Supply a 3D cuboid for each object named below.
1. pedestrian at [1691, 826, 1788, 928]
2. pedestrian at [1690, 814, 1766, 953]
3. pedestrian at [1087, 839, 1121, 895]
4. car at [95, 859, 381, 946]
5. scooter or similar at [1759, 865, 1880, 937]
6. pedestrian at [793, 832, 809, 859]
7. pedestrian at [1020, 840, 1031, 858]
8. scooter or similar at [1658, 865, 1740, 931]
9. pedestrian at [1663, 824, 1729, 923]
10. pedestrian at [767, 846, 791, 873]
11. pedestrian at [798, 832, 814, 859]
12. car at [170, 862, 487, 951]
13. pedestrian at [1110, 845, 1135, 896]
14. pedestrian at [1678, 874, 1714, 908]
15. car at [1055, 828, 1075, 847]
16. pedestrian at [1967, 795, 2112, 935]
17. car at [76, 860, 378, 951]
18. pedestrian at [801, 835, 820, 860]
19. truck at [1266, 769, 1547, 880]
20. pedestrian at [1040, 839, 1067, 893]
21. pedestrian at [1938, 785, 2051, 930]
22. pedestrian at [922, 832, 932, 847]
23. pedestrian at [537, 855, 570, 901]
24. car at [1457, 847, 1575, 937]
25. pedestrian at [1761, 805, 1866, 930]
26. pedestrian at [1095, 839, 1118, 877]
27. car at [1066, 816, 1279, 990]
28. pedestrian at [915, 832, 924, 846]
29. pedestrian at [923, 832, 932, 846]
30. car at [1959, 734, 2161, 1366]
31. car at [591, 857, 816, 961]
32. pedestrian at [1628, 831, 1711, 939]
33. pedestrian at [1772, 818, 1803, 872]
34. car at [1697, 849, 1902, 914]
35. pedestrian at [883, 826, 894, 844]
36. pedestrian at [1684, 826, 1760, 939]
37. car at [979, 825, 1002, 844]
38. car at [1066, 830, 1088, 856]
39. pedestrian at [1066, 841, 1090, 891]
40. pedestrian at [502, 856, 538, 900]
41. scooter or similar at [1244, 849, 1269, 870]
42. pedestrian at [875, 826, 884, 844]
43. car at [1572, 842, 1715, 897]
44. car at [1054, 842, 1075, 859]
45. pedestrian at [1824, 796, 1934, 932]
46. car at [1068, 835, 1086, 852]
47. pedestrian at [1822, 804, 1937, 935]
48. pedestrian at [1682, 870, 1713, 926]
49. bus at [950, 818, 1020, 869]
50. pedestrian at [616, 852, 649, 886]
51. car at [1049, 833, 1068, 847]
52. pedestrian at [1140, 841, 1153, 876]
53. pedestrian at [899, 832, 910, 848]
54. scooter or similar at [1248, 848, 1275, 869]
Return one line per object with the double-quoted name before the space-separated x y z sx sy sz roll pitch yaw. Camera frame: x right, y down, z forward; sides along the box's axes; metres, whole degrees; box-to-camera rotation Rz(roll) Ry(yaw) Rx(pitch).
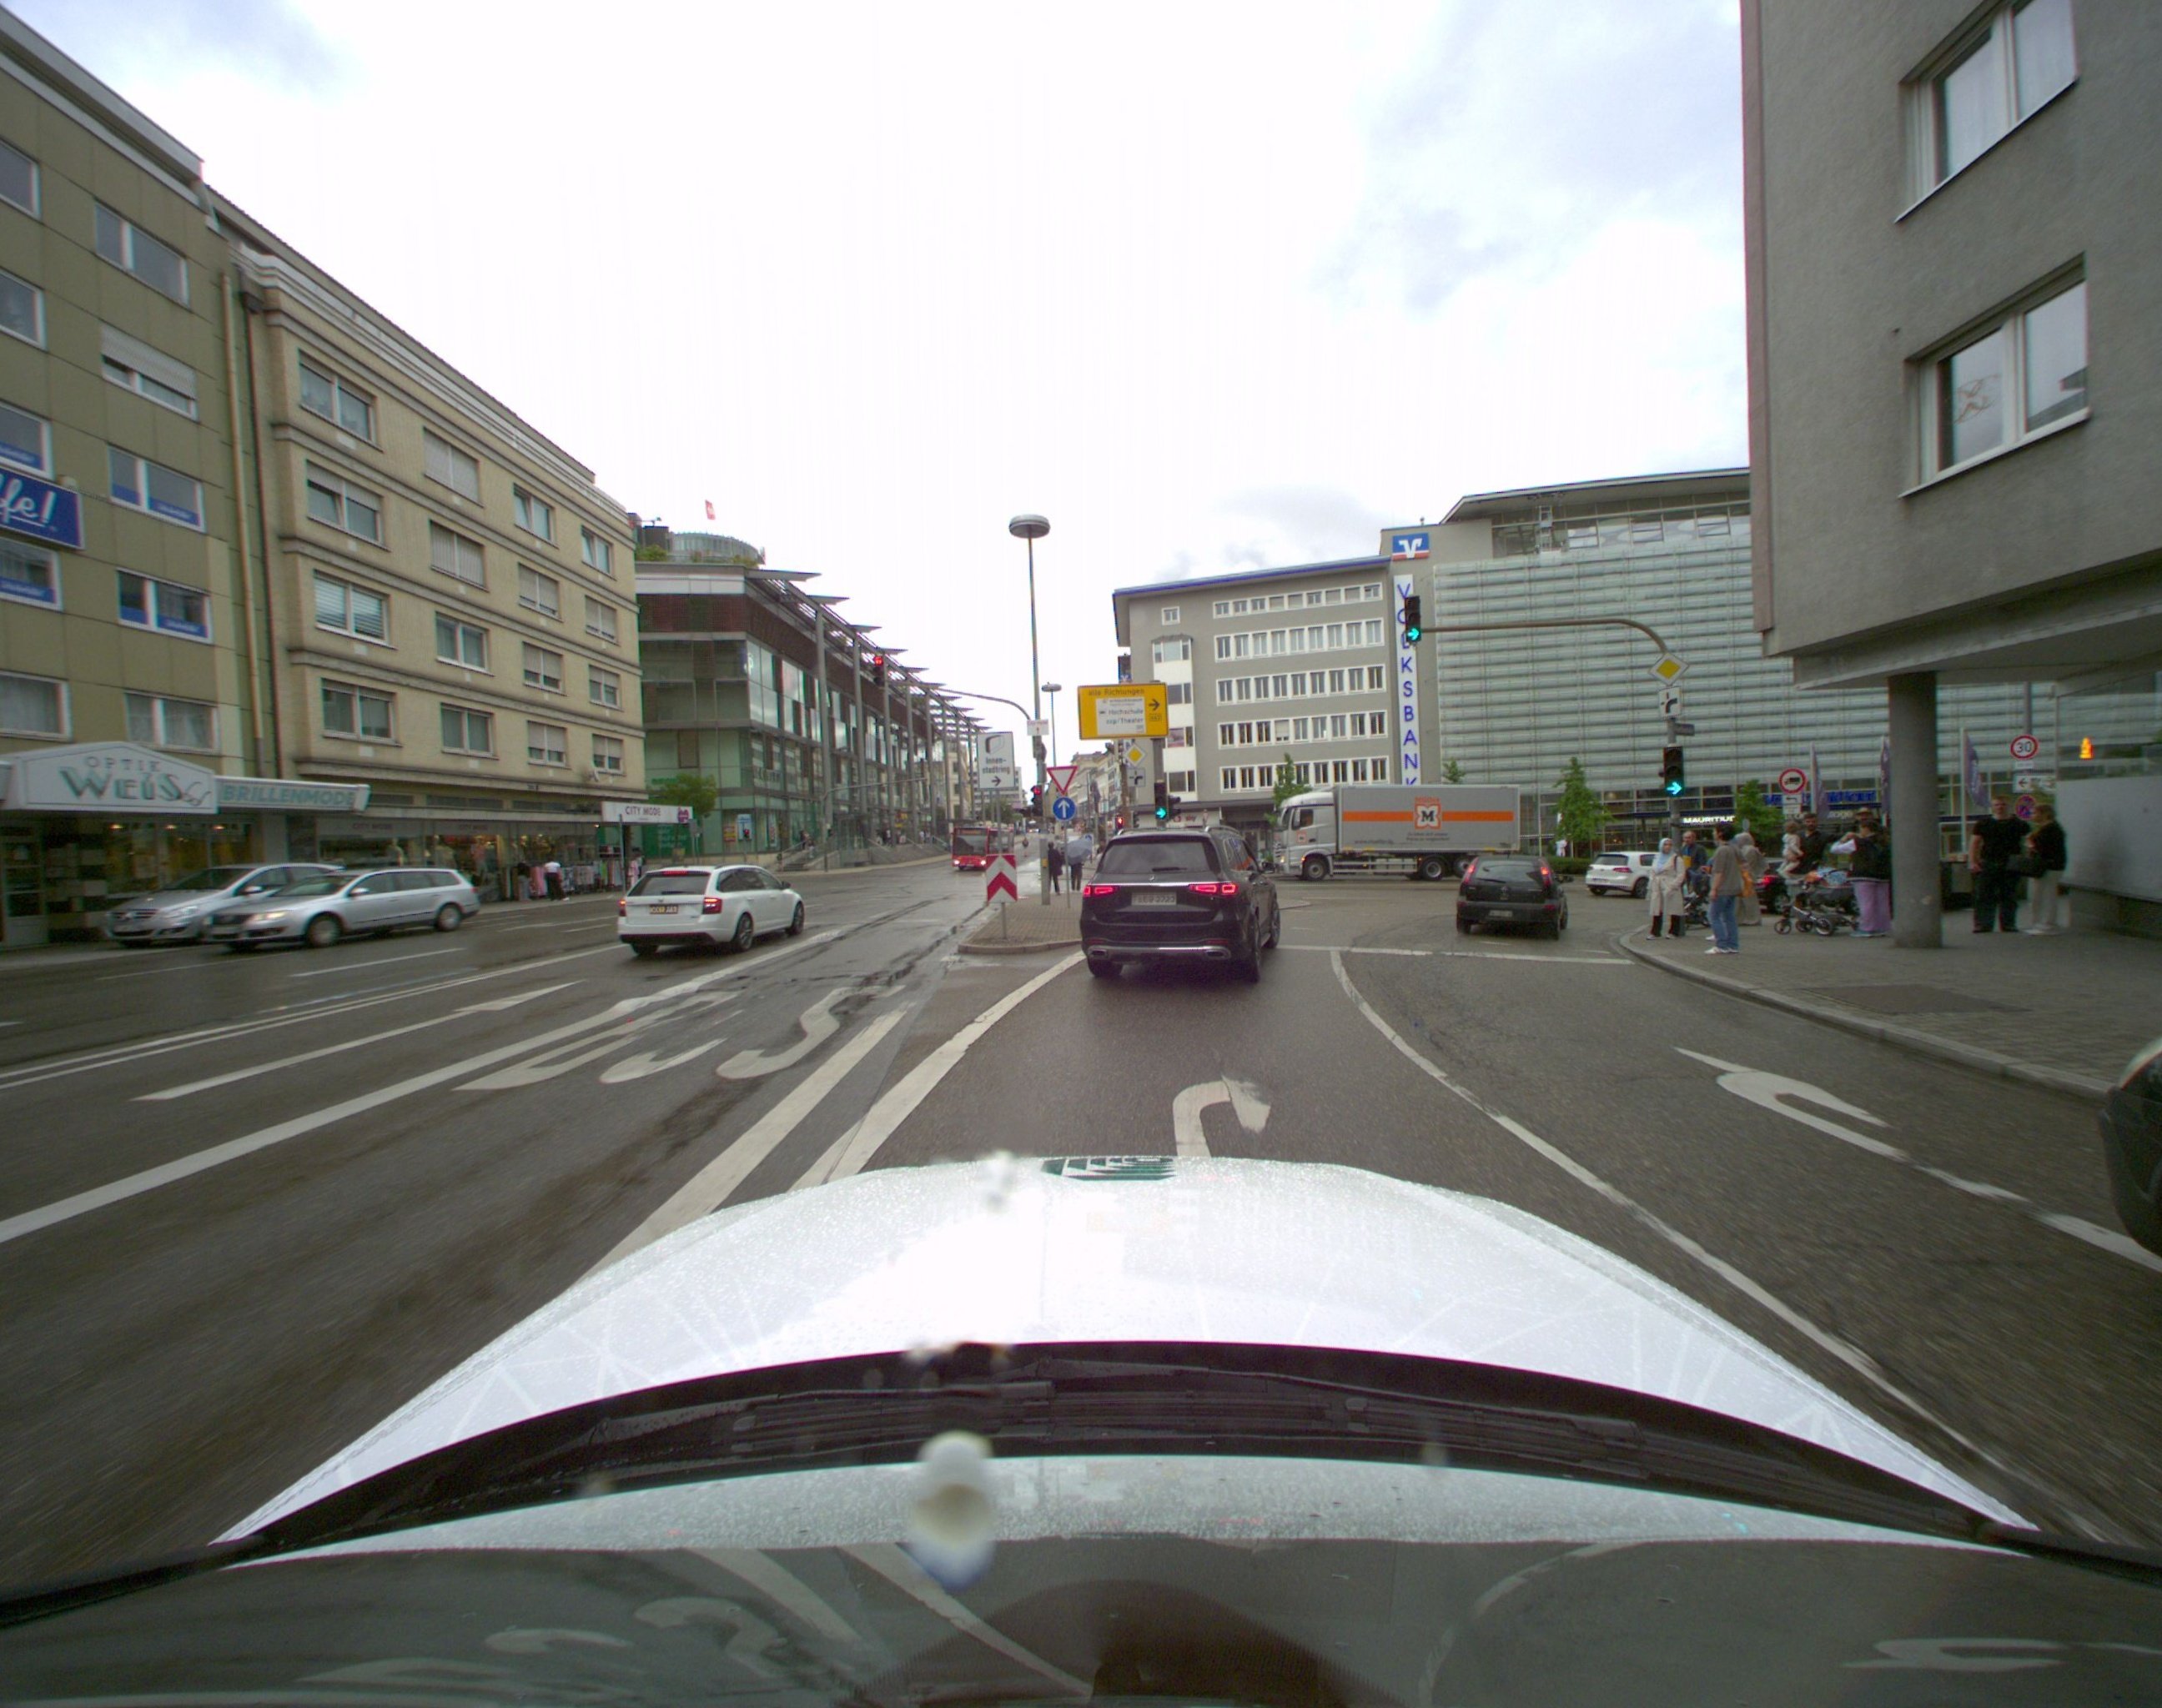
"pedestrian" 11.739 0.407 14.553 1.027 1.722 0.842 -3 -1 17
"pedestrian" 8.279 0.375 10.451 0.620 1.692 0.787 -4 -2 35
"pedestrian" 0.725 0.389 25.007 0.973 1.672 0.917 0 0 6
"car" -17.878 0.939 17.630 1.693 1.563 4.204 -1 1 2
"scooter or similar" 10.938 0.697 12.111 0.768 0.986 1.048 -3 -3 0
"pedestrian" -20.989 -0.640 61.078 0.878 1.980 0.974 -1 0 0
"pedestrian" -5.683 -0.534 83.305 0.949 1.886 0.812 0 0 7
"scooter or similar" 11.168 0.794 14.753 0.962 1.109 0.658 -4 -1 19
"pedestrian" 12.050 0.395 15.984 0.611 1.868 0.790 -5 -5 16
"pedestrian" -19.348 0.341 52.184 1.029 1.713 1.014 -1 0 28
"pedestrian" -20.954 -0.645 62.041 0.872 1.980 0.850 -1 0 0
"car" -15.012 0.960 16.729 1.777 1.445 4.761 -1 1 5
"pedestrian" 1.234 0.485 24.115 0.701 1.488 0.561 0 -1 5
"pedestrian" 11.157 0.669 14.786 0.368 0.571 0.461 -4 -1 19
"car" -2.812 -2.973 148.217 2.429 3.465 6.171 0 1 10
"pedestrian" 12.016 0.150 10.244 0.613 1.637 0.839 -6 -3 4
"car" -17.947 0.984 17.507 1.842 1.550 4.400 0 1 0
"pedestrian" -19.101 -0.442 57.543 1.037 1.713 1.006 -1 0 -5
"truck" 13.518 -1.185 34.577 10.688 4.333 2.859 -1 0 4
"pedestrian" -0.862 0.375 25.864 0.780 1.711 0.708 0 -1 5
"pedestrian" 12.251 0.039 10.939 0.666 1.866 0.833 0 0 -20
"pedestrian" -17.881 -1.693 94.698 1.037 1.713 1.006 -1 0 -5
"pedestrian" -18.878 0.847 29.152 0.850 1.628 0.765 -1 0 -43
"car" 8.150 0.642 15.221 1.701 1.420 3.793 2 0 29
"pedestrian" 11.535 0.224 12.853 0.832 1.865 0.659 -4 -4 4
"pedestrian" 1.223 0.178 39.403 1.008 1.787 0.851 0 0 -6
"car" 1.508 0.449 11.072 2.072 1.816 4.814 0 1 16
"pedestrian" -19.761 -1.798 99.683 1.037 1.713 1.006 -1 0 -5
"pedestrian" -18.781 -1.840 99.786 0.936 1.713 0.990 -1 0 -5
"car" 3.875 0.586 0.655 1.898 1.785 4.307 -1 1 4
"car" -6.358 0.821 14.418 1.786 1.415 4.631 -2 1 0
"pedestrian" 9.422 0.496 13.071 0.537 1.637 0.838 -5 -4 0
"pedestrian" 11.188 -0.144 12.899 0.218 0.847 0.443 1 0 21
"car" 19.132 0.683 21.800 3.982 1.573 1.952 0 2 -6
"pedestrian" -18.573 -1.834 78.537 0.826 1.713 0.801 -1 0 -5
"pedestrian" 9.716 0.438 12.349 0.736 1.635 0.600 -6 -5 42
"car" -10.425 -2.230 94.071 2.237 2.034 5.352 0 1 -3
"car" -0.549 -1.319 96.439 2.438 2.957 6.149 0 1 -2
"pedestrian" -0.111 0.418 27.751 0.753 1.692 0.694 0 -1 5
"pedestrian" -19.899 0.843 28.903 0.783 1.536 0.681 -1 0 -2
"scooter or similar" 10.420 0.333 48.442 1.368 1.187 0.547 -2 0 20
"pedestrian" -19.356 -1.790 78.355 0.680 1.713 0.849 -1 0 -5
"car" 18.235 0.450 26.418 4.003 1.573 1.942 -1 2 -22
"car" -1.472 -0.330 74.543 1.731 1.527 4.002 0 1 1
"pedestrian" 11.805 0.149 12.082 0.813 1.931 0.734 -3 -1 8
"car" -0.499 -1.146 89.880 1.856 1.826 4.100 0 1 -2
"pedestrian" 11.021 0.220 11.264 0.831 1.723 0.619 -3 -3 8
"pedestrian" 11.527 0.825 15.226 0.258 1.000 0.475 -6 -2 23
"bus" -7.049 -0.745 63.048 2.910 3.320 18.481 -1 0 1
"pedestrian" -21.690 0.732 39.387 0.868 1.586 1.155 -1 0 3
"car" -2.892 -1.783 106.413 2.415 1.780 5.154 0 1 0
"pedestrian" 3.145 0.200 38.979 0.566 1.668 0.503 -1 0 7
"pedestrian" -19.275 -1.498 88.891 1.037 1.713 1.006 -1 0 -5
"scooter or similar" 11.111 0.259 50.088 1.484 1.256 0.935 0 2 20
